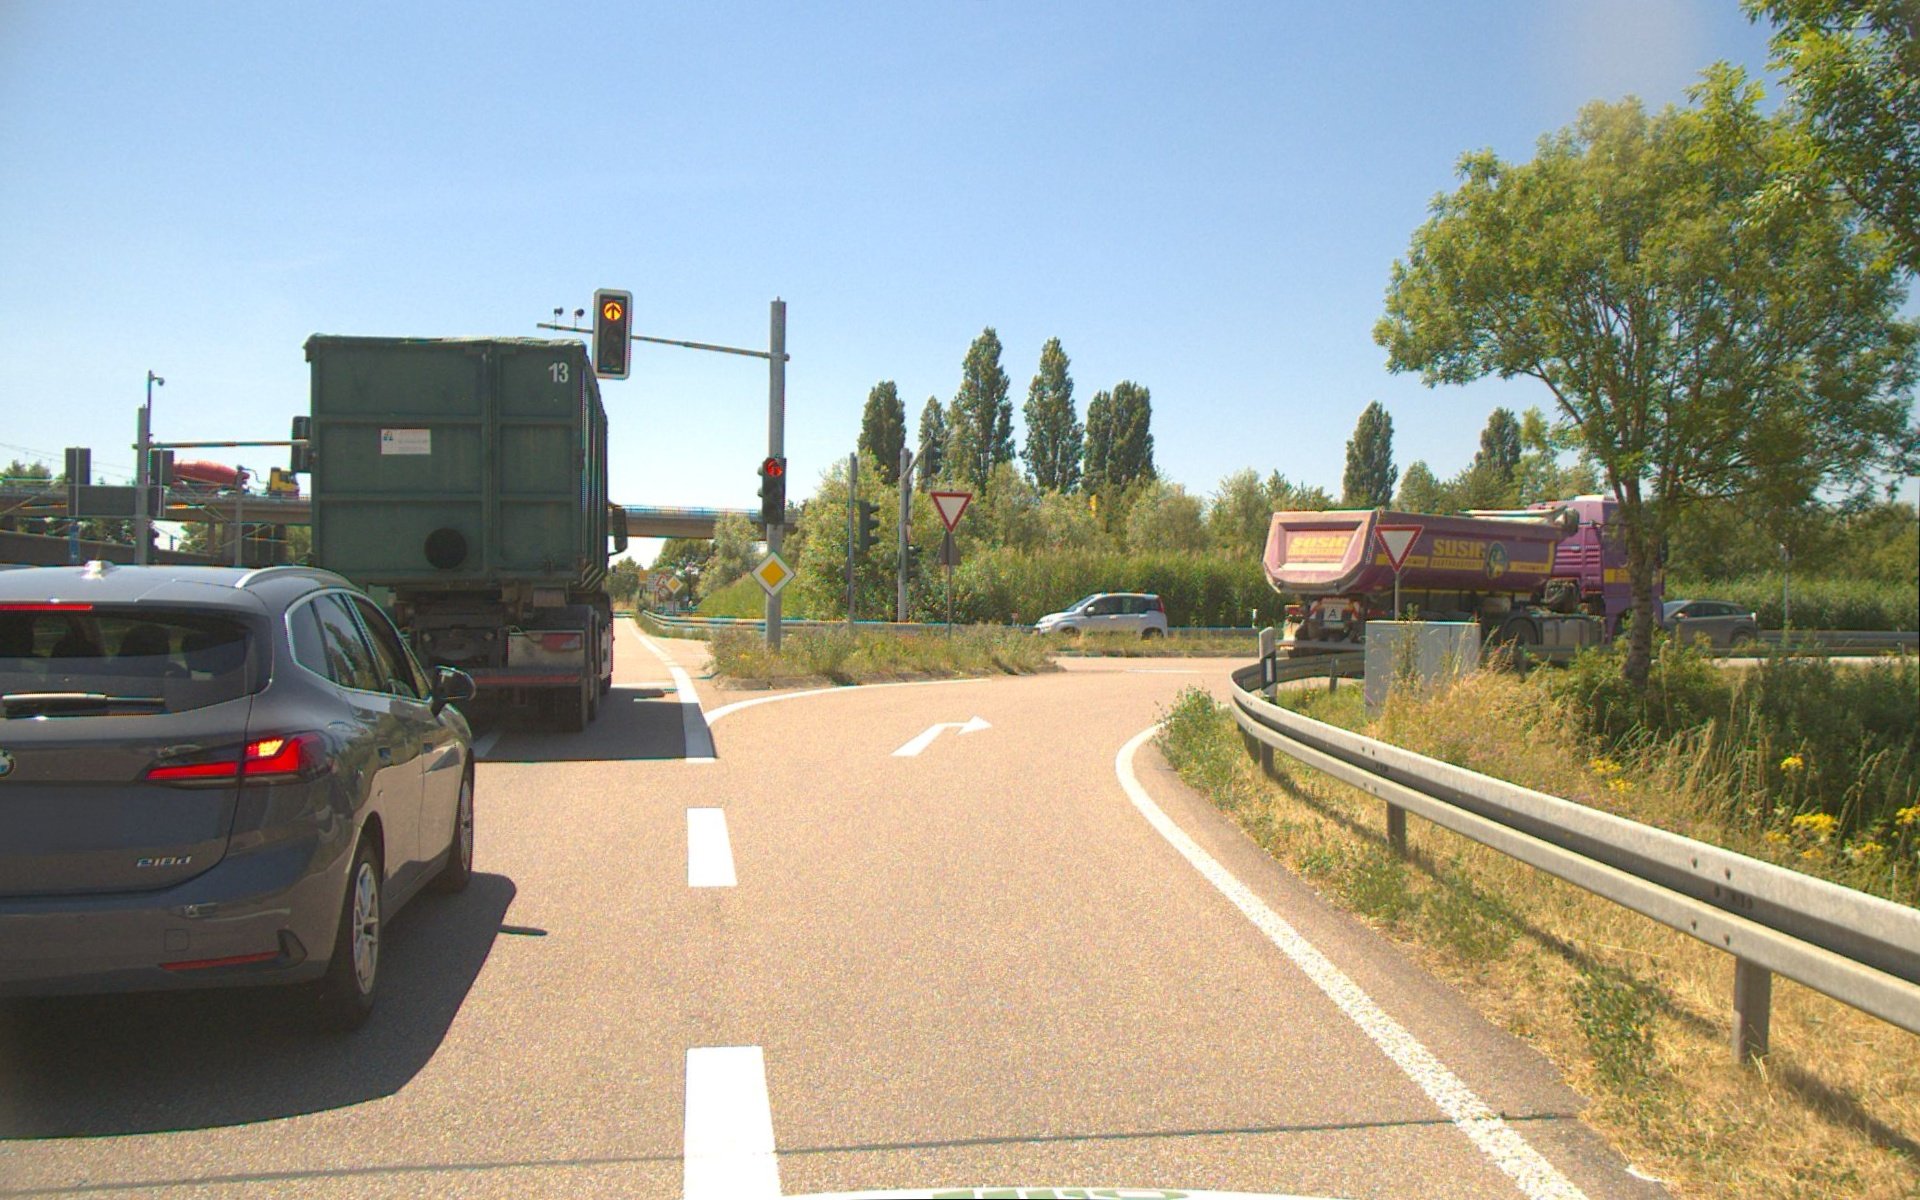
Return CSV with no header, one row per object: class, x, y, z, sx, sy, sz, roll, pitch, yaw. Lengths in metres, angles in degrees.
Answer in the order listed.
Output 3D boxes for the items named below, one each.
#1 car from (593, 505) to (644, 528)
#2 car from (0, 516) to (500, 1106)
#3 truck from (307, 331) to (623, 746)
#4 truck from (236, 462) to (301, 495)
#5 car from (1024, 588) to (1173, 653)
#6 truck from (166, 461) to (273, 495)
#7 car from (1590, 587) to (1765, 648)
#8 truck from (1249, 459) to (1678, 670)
car,-33.568,-8.188,162.665,4.871,2.049,1.995,0,0,-11
car,-3.031,0.590,6.714,1.811,1.651,4.216,0,0,-10
truck,-5.545,-0.604,20.095,2.542,3.803,9.552,0,0,-10
truck,-61.549,-10.828,147.327,5.002,2.721,1.994,0,0,-13
car,3.646,0.525,43.793,3.640,1.660,1.730,0,0,-11
truck,-65.526,-10.803,146.514,8.344,2.721,1.995,0,0,-11
car,20.161,0.482,46.555,4.147,1.660,1.929,0,0,-10
truck,11.091,-0.657,35.311,11.770,3.888,2.802,0,0,-40
